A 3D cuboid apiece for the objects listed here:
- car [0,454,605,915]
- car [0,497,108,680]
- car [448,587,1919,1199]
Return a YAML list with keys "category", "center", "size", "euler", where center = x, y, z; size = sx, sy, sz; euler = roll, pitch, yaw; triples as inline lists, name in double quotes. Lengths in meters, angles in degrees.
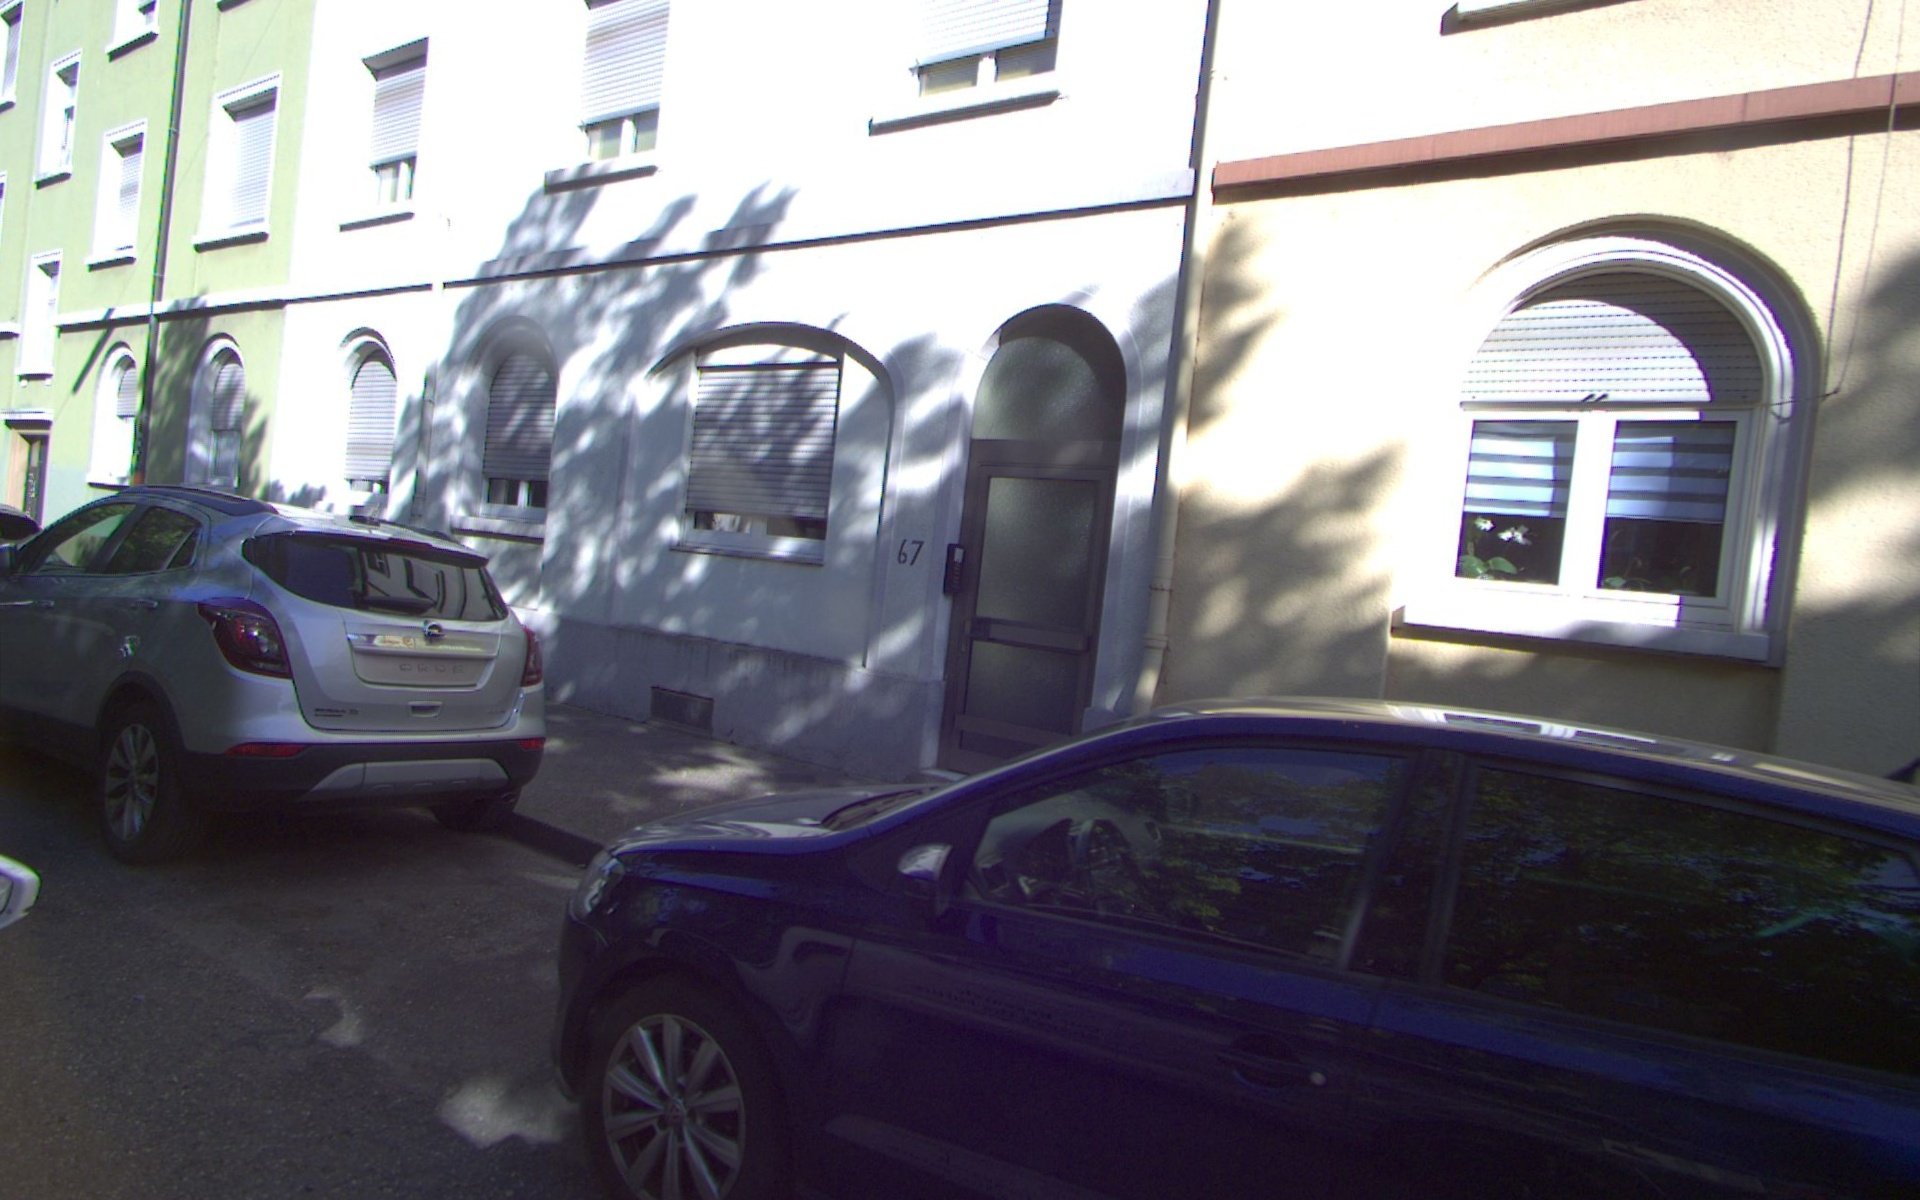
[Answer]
- category: "car"
  center: [-4.167, 0.208, 5.627]
  size: [4.087, 1.707, 1.725]
  euler: [7, 1, 29]
- category: "car"
  center: [-9.541, -0.297, 8.957]
  size: [4.089, 1.450, 1.724]
  euler: [7, 0, 32]
- category: "car"
  center: [0.747, 0.915, 2.427]
  size: [3.794, 1.411, 1.552]
  euler: [7, 0, 28]
